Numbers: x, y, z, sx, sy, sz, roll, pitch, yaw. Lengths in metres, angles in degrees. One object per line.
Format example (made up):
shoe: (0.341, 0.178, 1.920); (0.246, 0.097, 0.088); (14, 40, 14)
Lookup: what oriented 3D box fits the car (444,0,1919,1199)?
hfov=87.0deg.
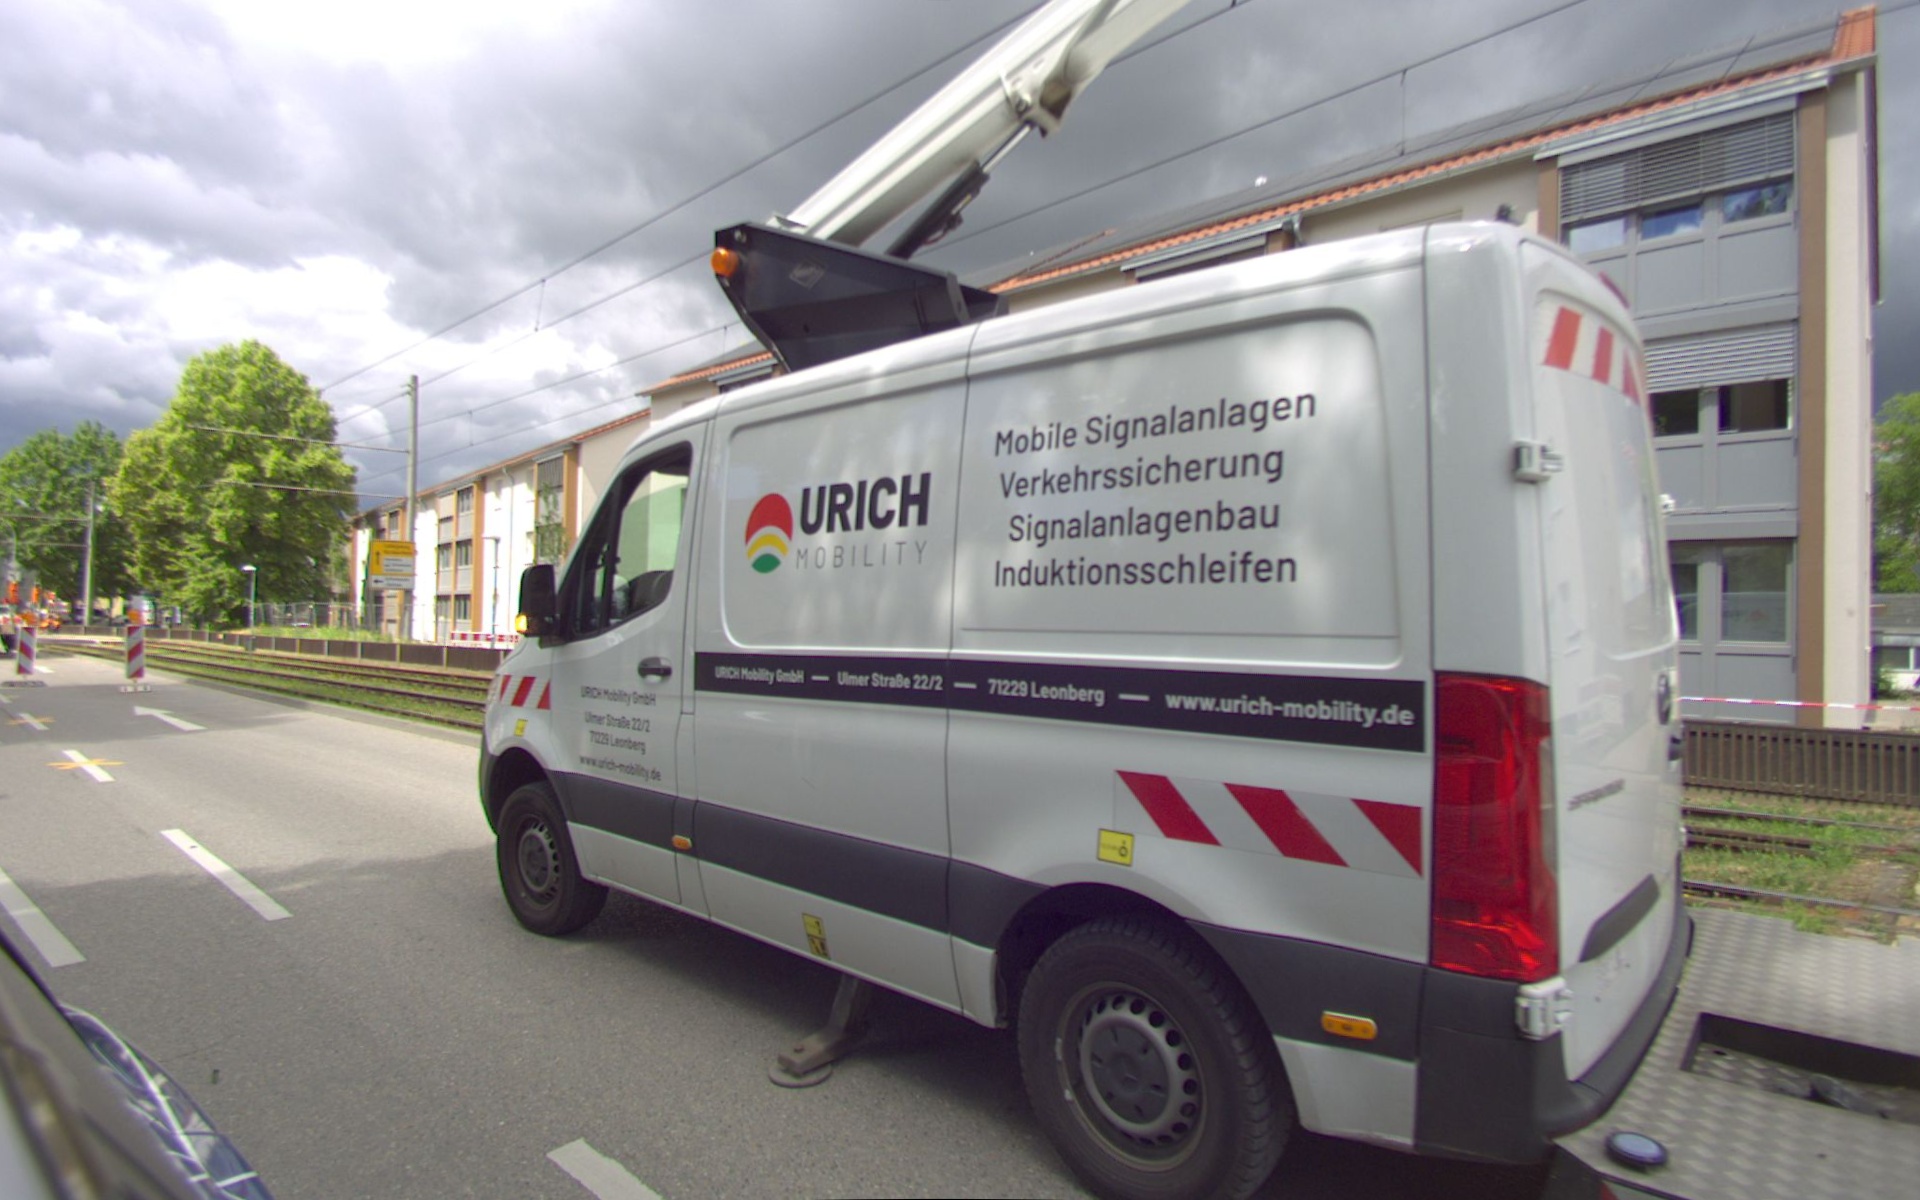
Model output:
car: (0.510, 0.163, 3.519); (6.320, 2.449, 1.972); (0, -1, 42)

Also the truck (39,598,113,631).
truck: (-71.430, 1.209, 81.862); (2.378, 2.588, 5.600); (1, -2, -17)

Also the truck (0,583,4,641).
truck: (-48.453, 0.599, 48.789); (6.390, 2.746, 2.635); (-1, -2, 40)

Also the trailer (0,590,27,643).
trailer: (-43.591, 0.745, 44.722); (6.242, 2.231, 2.635); (-1, -2, 40)
